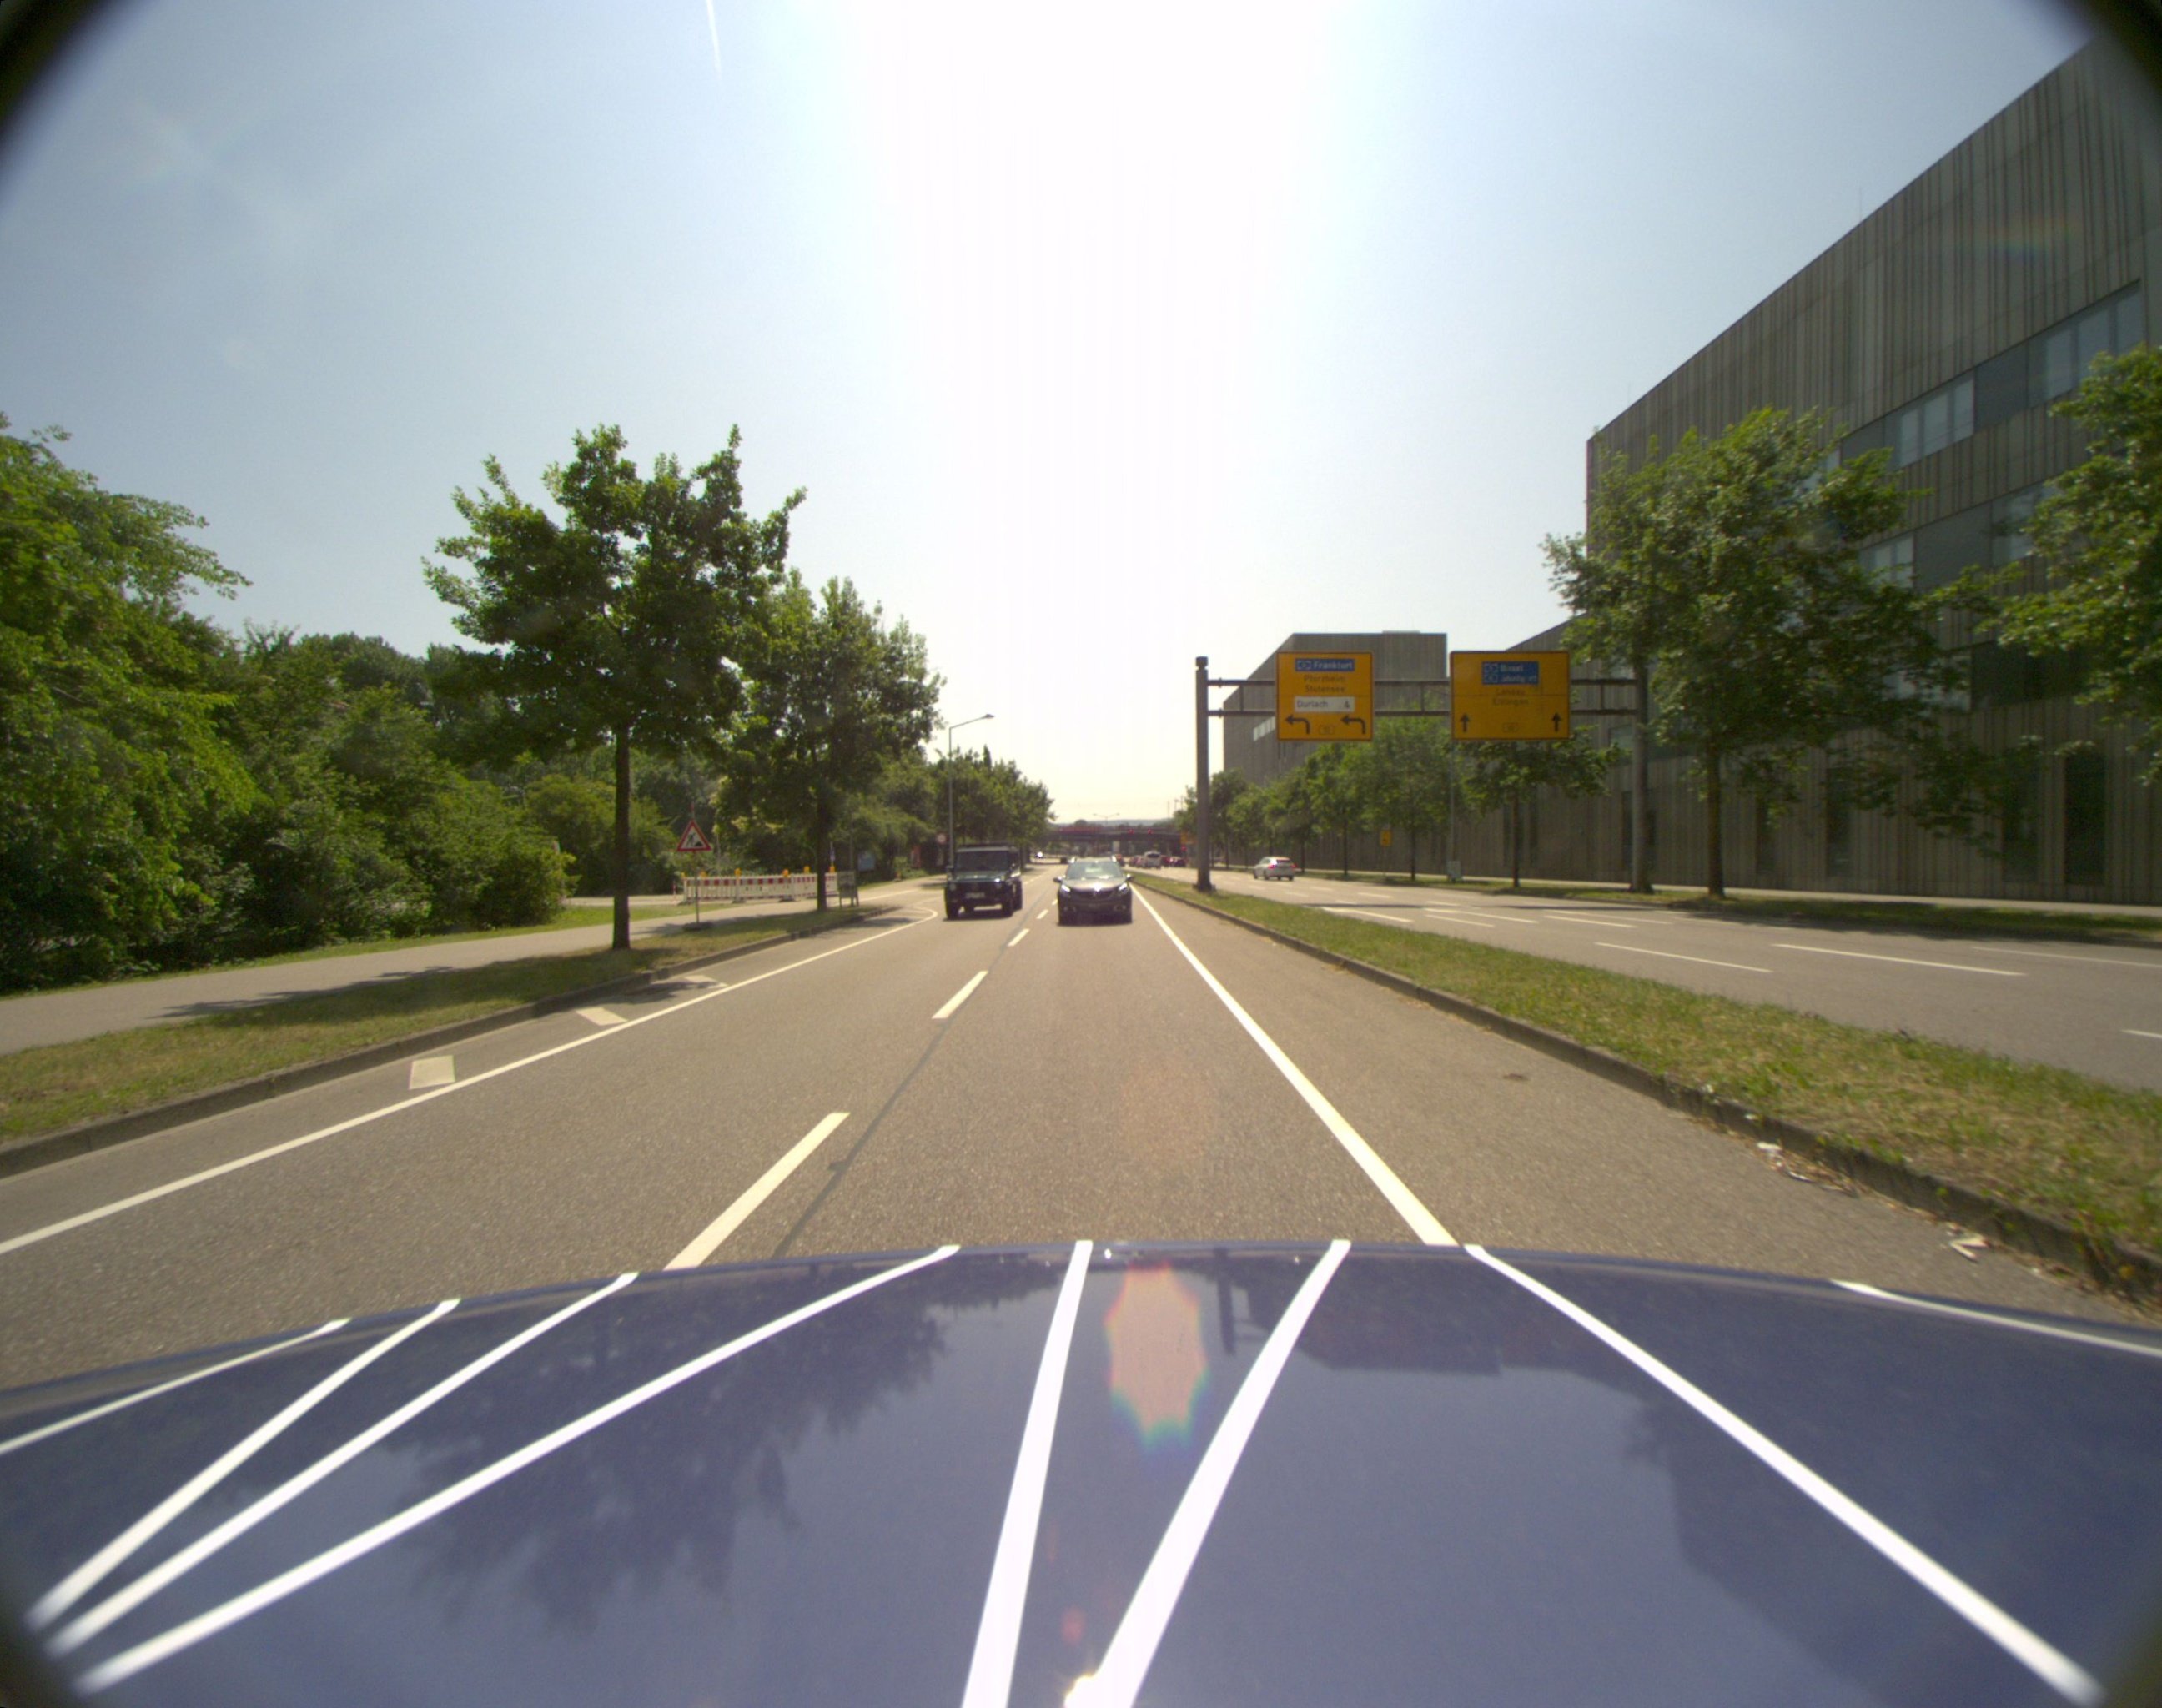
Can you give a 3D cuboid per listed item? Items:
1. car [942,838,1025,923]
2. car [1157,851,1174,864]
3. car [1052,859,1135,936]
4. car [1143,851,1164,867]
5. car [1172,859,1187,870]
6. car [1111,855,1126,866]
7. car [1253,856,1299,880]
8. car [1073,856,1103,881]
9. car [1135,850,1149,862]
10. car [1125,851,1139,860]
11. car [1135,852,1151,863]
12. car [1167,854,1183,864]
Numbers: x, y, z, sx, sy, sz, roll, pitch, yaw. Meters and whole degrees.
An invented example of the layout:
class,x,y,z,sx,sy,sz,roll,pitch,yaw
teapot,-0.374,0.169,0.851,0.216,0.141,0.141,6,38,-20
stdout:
class,x,y,z,sx,sy,sz,roll,pitch,yaw
car,-2.673,0.670,21.891,1.841,2.141,4.557,-1,1,-1
car,12.175,0.481,109.629,1.815,1.736,4.645,-1,0,-2
car,0.325,0.896,17.637,1.619,1.502,4.459,-3,0,2
car,8.829,0.578,93.094,1.914,1.981,4.896,0,0,-2
car,14.405,1.474,111.368,1.625,1.448,4.015,0,2,0
car,5.429,0.932,110.519,1.815,1.458,4.057,0,0,0
car,12.337,0.861,48.402,1.815,1.419,4.358,0,0,0
car,0.415,0.898,47.698,1.817,1.456,3.999,-1,0,0
car,8.851,0.258,110.068,1.807,1.653,4.573,0,0,2
car,7.804,0.238,116.806,1.815,1.437,4.249,0,0,-2
car,8.168,0.497,100.662,1.770,1.452,4.144,0,0,-1
car,14.563,0.780,118.123,1.815,1.534,4.369,-1,0,-1
